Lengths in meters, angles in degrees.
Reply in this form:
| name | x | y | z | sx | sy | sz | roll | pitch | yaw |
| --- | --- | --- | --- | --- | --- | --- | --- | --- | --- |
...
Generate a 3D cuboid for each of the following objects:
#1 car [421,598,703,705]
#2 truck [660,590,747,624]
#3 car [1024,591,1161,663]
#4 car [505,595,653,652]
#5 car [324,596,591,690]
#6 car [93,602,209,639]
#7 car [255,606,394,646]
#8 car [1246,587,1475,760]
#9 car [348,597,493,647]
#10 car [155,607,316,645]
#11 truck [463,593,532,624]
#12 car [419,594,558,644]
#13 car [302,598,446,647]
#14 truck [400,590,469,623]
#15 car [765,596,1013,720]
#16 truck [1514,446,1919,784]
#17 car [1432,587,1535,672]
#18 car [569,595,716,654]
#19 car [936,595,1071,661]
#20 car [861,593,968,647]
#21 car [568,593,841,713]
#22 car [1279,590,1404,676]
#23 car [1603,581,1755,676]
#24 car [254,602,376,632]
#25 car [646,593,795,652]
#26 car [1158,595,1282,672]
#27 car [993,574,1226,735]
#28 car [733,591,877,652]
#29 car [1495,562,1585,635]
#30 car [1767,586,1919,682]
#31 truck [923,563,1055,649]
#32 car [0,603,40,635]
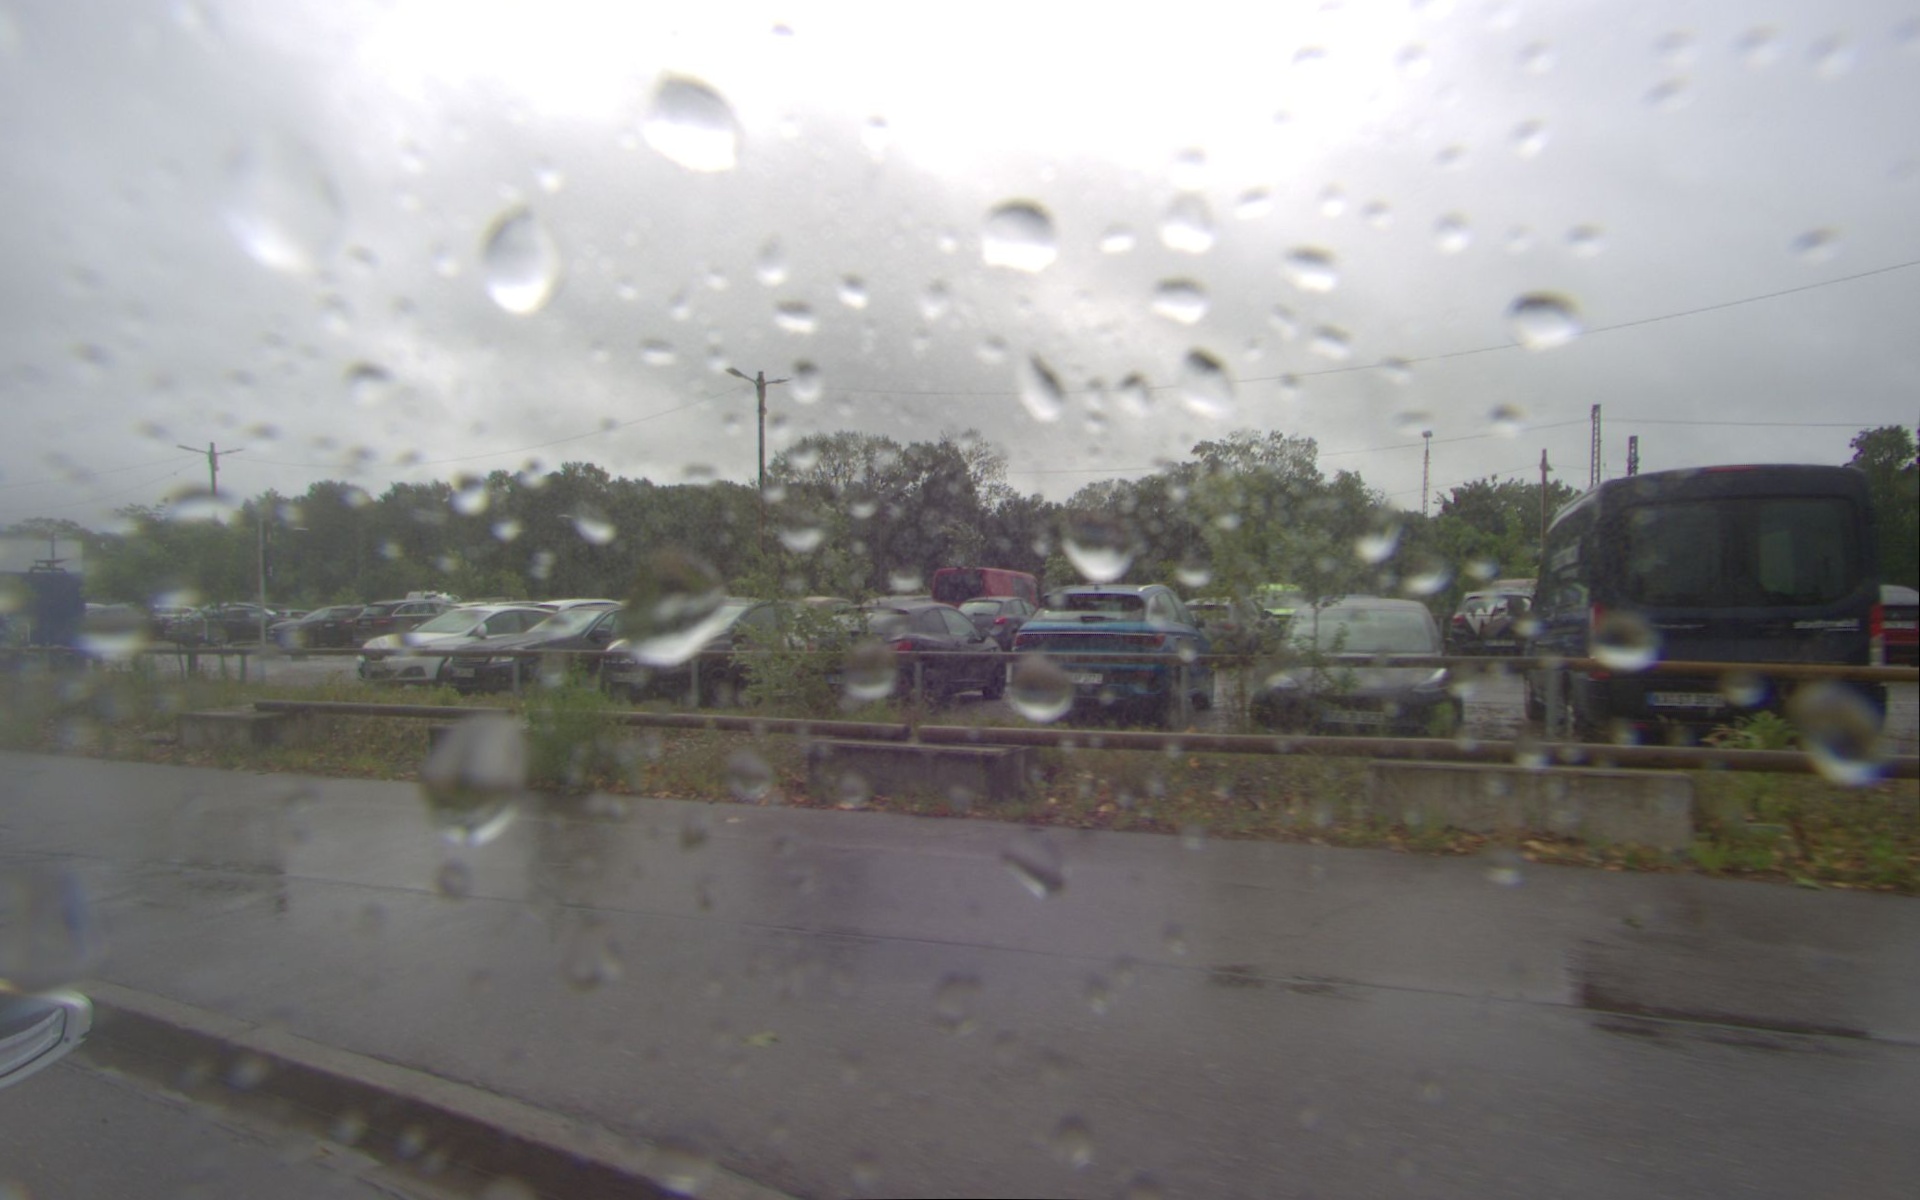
| name | x | y | z | sx | sy | sz | roll | pitch | yaw |
| --- | --- | --- | --- | --- | --- | --- | --- | --- | --- |
| car | -5.999 | 0.744 | 15.595 | 1.874 | 1.441 | 3.897 | -1 | -1 | 23 |
| truck | -16.075 | 0.397 | 62.740 | 5.196 | 2.041 | 2.079 | 0 | 1 | 28 |
| car | 3.163 | 0.570 | 23.196 | 1.858 | 1.446 | 3.947 | -1 | 1 | 28 |
| car | -11.376 | 0.671 | 30.134 | 1.750 | 1.510 | 3.947 | -1 | 1 | 28 |
| car | -8.450 | 0.696 | 17.191 | 1.874 | 1.411 | 3.773 | -1 | -1 | 23 |
| car | -40.602 | 1.006 | 50.361 | 1.897 | 1.627 | 4.056 | -1 | 2 | 27 |
| car | -22.849 | 0.900 | 36.127 | 1.624 | 1.237 | 3.880 | -1 | 1 | 31 |
| car | 4.255 | 0.669 | 10.636 | 1.832 | 1.438 | 4.162 | -1 | -1 | 23 |
| car | -18.169 | 0.715 | 33.913 | 1.841 | 1.510 | 3.947 | -1 | 1 | 28 |
| car | -27.589 | 0.967 | 38.322 | 1.946 | 1.237 | 4.585 | -1 | 1 | 25 |
| truck | -33.469 | 0.607 | 72.409 | 5.009 | 2.167 | 2.068 | 0 | 1 | 31 |
| car | -15.785 | 0.616 | 33.743 | 1.750 | 1.510 | 3.947 | -1 | 1 | 28 |
| car | -20.418 | 0.758 | 35.035 | 1.841 | 1.510 | 3.947 | -1 | 1 | 28 |
| truck | -39.634 | 0.481 | 75.488 | 5.001 | 2.434 | 2.071 | 0 | 1 | 26 |
| car | -0.789 | 0.712 | 13.558 | 1.750 | 1.412 | 3.897 | -1 | -1 | 23 |
| truck | 6.983 | 0.162 | 9.953 | 2.075 | 2.434 | 5.036 | 0 | -1 | 23 |
| car | 10.687 | 0.541 | 20.481 | 1.681 | 1.500 | 3.947 | -1 | 1 | 28 |
| car | -9.091 | 0.659 | 28.974 | 1.750 | 1.510 | 3.947 | -1 | 1 | 28 |
| car | 1.193 | 0.661 | 25.169 | 1.858 | 1.446 | 3.947 | -1 | 1 | 28 |
| car | -1.379 | 0.580 | 31.973 | 1.741 | 1.595 | 3.985 | 0 | 1 | 26 |
| car | -3.434 | 0.694 | 14.216 | 1.750 | 1.441 | 3.897 | -1 | -1 | 23 |
| car | 7.872 | 0.608 | 20.441 | 1.896 | 1.510 | 4.060 | -1 | 1 | 28 |
| car | 13.379 | 0.470 | 18.869 | 1.779 | 1.558 | 3.947 | -1 | 1 | 28 |
| car | -27.873 | 0.718 | 43.411 | 1.802 | 1.086 | 4.059 | -2 | 1 | 24 |
| car | -6.564 | 0.595 | 27.870 | 1.858 | 1.446 | 3.947 | -1 | 1 | 28 |
| car | 5.848 | 0.685 | 22.228 | 1.793 | 1.446 | 3.947 | -1 | 1 | 28 |
| car | 1.993 | 0.603 | 12.247 | 1.866 | 1.615 | 3.897 | -1 | -1 | 23 |
| car | -4.101 | 0.540 | 27.125 | 1.858 | 1.446 | 3.947 | -1 | 1 | 28 |
| car | 14.459 | -0.013 | 25.140 | 1.737 | 1.661 | 3.985 | -1 | 0 | 27 |
| car | 15.966 | 0.533 | 17.760 | 1.814 | 1.468 | 3.982 | -1 | 1 | 28 |
| truck | 1.032 | 0.139 | 30.931 | 2.118 | 2.399 | 5.286 | 0 | 1 | 25 |
| car | -47.311 | 0.978 | 48.341 | 1.898 | 1.504 | 3.823 | -1 | 2 | 29 |
